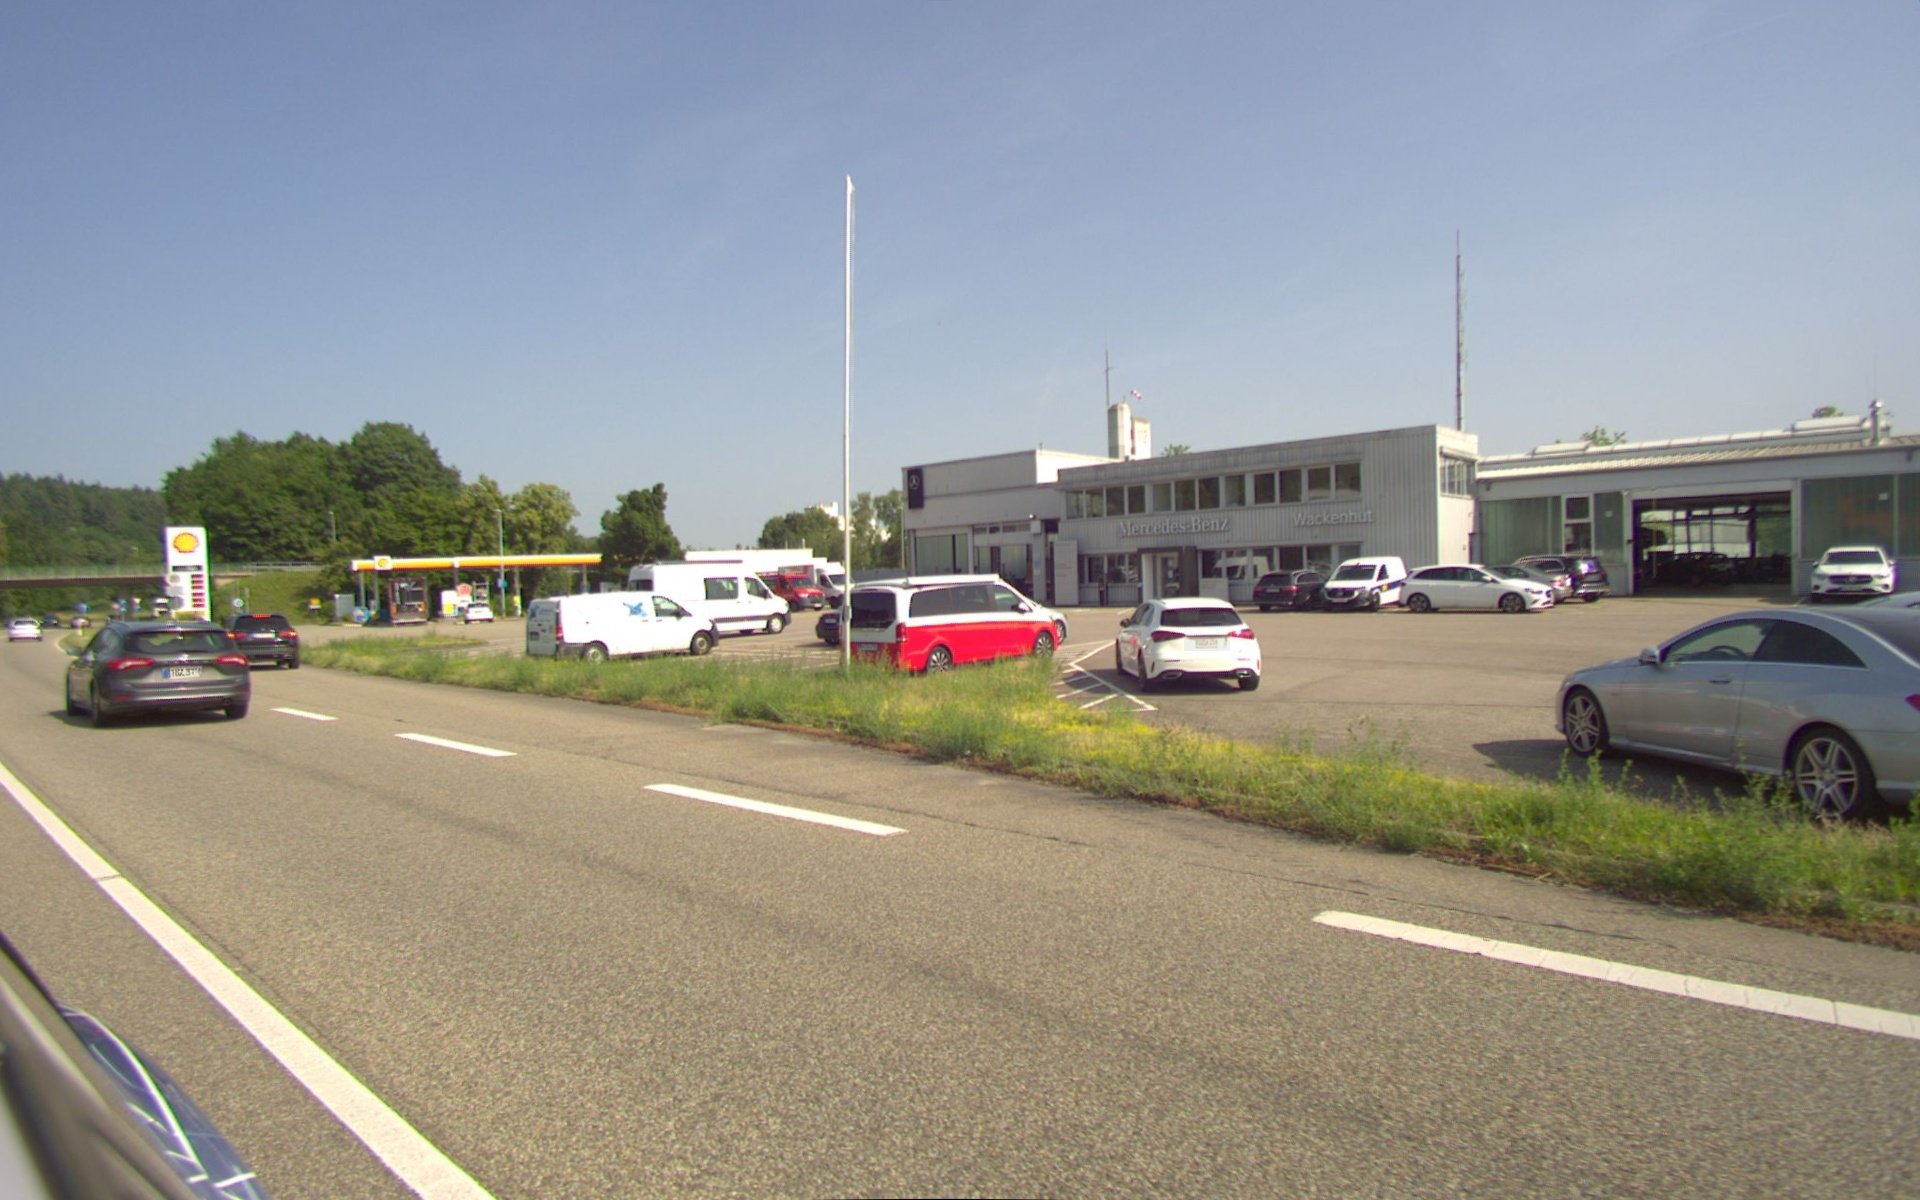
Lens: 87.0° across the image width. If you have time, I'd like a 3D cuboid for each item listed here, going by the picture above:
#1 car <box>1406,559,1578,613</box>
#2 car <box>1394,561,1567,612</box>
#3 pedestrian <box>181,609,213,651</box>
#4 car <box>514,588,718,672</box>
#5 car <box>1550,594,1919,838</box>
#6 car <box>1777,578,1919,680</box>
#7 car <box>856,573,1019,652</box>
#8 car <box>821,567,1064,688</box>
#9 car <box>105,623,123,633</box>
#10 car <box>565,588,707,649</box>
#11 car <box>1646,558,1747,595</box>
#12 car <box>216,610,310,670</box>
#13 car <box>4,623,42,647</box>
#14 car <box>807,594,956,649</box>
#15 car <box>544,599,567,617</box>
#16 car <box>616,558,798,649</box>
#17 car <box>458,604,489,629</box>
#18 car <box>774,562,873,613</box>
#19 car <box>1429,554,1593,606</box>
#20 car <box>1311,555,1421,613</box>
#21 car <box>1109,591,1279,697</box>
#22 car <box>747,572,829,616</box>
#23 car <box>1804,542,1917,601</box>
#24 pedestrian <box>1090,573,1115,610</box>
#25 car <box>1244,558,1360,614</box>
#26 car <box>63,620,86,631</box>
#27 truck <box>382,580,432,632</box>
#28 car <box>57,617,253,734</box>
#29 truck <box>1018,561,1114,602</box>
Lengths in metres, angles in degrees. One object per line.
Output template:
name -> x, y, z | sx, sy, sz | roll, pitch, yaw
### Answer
car -> 17.886, -0.434, 34.183 | 4.829, 1.578, 1.786 | -3, 0, 42
car -> 16.442, -0.409, 32.099 | 4.566, 1.503, 1.786 | 0, 1, 42
pedestrian -> -31.865, 1.254, 42.266 | 0.835, 1.702, 1.147 | -1, 0, -26
car -> -9.050, 0.724, 26.937 | 2.143, 1.871, 4.623 | -2, 2, 41
car -> 6.447, 0.662, 7.303 | 1.828, 1.378, 4.392 | -1, 0, 1
car -> 14.541, 0.355, 14.080 | 4.829, 1.397, 1.786 | -3, 0, 42
car -> -0.543, 0.289, 27.781 | 2.000, 1.821, 4.336 | -2, 2, 41
car -> -0.223, 0.449, 20.360 | 2.228, 1.996, 4.743 | -2, 2, 41
car -> -120.715, 3.924, 144.354 | 1.655, 1.366, 3.932 | 0, -1, -35
car -> -11.572, 0.610, 36.396 | 1.986, 1.853, 4.399 | -1, 2, 41
car -> 35.053, -1.068, 48.335 | 2.189, 1.578, 4.557 | -2, 0, 12
car -> -20.774, 1.191, 30.085 | 1.789, 1.642, 4.547 | 0, -2, -41
car -> -60.800, 2.278, 65.707 | 1.657, 1.484, 3.712 | 0, -1, -41
car -> -2.239, 0.596, 29.839 | 1.799, 1.328, 4.335 | -2, 1, 41
car -> -39.752, 0.765, 99.583 | 1.877, 1.654, 4.013 | -2, 1, -19
car -> -8.592, 0.034, 34.873 | 2.285, 2.765, 5.659 | -1, 2, 43
car -> -33.794, 1.146, 70.241 | 1.691, 1.578, 4.672 | -2, 0, -29
car -> -8.389, -0.709, 61.805 | 6.528, 2.877, 2.369 | -2, 0, 43
car -> 19.523, -0.684, 36.000 | 4.829, 1.578, 1.786 | -3, 0, 42
car -> 14.381, -0.590, 35.706 | 1.953, 1.868, 4.763 | -3, 0, 43
car -> 3.688, 0.621, 16.724 | 1.872, 1.413, 4.229 | -1, 1, 1
car -> -10.070, -0.327, 58.947 | 5.223, 2.404, 1.860 | -2, 0, 43
car -> 27.464, -0.870, 30.812 | 4.759, 1.578, 2.213 | -2, 0, -44
pedestrian -> 6.563, -0.396, 46.550 | 0.849, 1.702, 0.812 | -1, 0, 40
car -> 12.579, -0.528, 37.075 | 2.211, 1.868, 4.763 | -3, 0, 43
car -> -101.587, 2.938, 116.091 | 1.780, 1.181, 4.108 | 0, -1, -38
truck -> -48.511, 0.473, 89.127 | 3.010, 4.165, 16.827 | -1, 0, -26
car -> -12.159, 1.023, 15.181 | 4.287, 1.486, 1.732 | -1, -1, 44
truck -> 6.648, -1.147, 62.730 | 2.450, 2.375, 6.806 | -1, 0, 41
